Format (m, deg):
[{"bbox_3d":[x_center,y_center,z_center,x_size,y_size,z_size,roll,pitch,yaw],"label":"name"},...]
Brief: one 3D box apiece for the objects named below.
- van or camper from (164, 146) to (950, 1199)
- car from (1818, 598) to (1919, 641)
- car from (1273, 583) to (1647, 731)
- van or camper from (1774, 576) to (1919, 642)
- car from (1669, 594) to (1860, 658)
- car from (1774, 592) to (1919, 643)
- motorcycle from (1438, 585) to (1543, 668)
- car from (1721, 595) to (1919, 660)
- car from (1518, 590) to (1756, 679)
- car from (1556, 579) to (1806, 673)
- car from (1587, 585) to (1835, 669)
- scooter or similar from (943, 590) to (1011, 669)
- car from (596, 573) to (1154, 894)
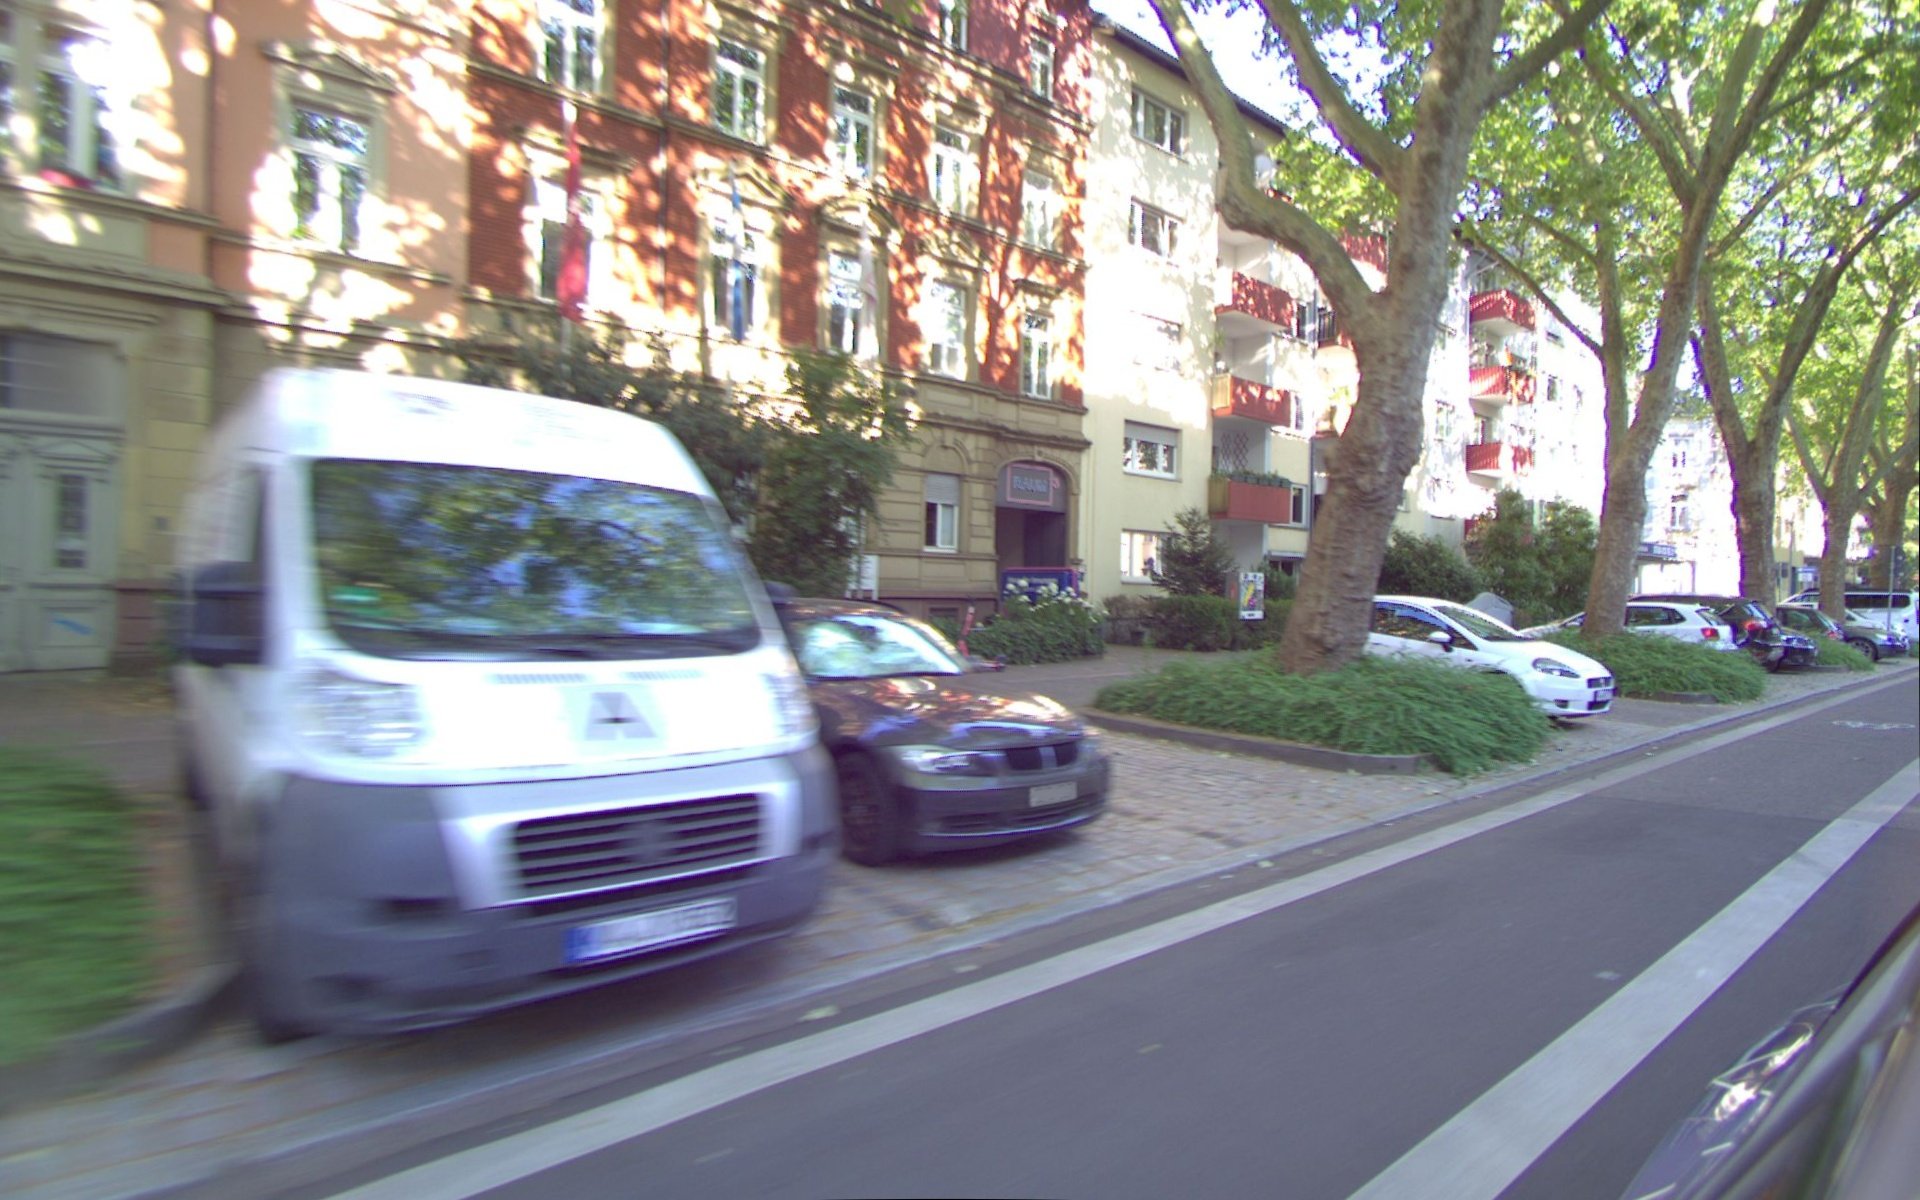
[{"bbox_3d":[-2.790,0.085,5.404,2.070,2.522,6.045,0,2,-40],"label":"van or camper"},{"bbox_3d":[33.740,0.698,36.796,1.694,1.457,3.573,0,1,-37],"label":"car"},{"bbox_3d":[6.257,0.595,13.011,1.659,1.498,3.961,0,2,-41],"label":"car"},{"bbox_3d":[31.714,0.268,35.751,1.808,2.136,4.381,0,2,-43],"label":"van or camper"},{"bbox_3d":[21.541,0.645,27.190,1.672,1.461,3.830,0,2,-44],"label":"car"},{"bbox_3d":[29.773,0.556,33.997,1.649,1.550,3.568,0,1,-42],"label":"car"},{"bbox_3d":[10.315,0.482,19.623,2.769,1.497,0.841,0,1,-41],"label":"motorcycle"},{"bbox_3d":[23.891,0.695,27.998,1.877,1.500,4.207,0,2,-39],"label":"car"},{"bbox_3d":[13.292,0.603,20.015,1.632,1.514,3.615,0,1,-41],"label":"car"},{"bbox_3d":[15.225,0.471,21.525,1.773,1.766,4.002,1,1,-40],"label":"car"},{"bbox_3d":[16.982,0.528,23.056,1.713,1.673,4.297,0,1,-42],"label":"car"},{"bbox_3d":[0.281,0.462,16.330,1.100,1.239,0.276,0,0,-32],"label":"scooter or similar"},{"bbox_3d":[-0.909,0.648,7.217,1.752,1.571,4.396,0,0,-40],"label":"car"}]
